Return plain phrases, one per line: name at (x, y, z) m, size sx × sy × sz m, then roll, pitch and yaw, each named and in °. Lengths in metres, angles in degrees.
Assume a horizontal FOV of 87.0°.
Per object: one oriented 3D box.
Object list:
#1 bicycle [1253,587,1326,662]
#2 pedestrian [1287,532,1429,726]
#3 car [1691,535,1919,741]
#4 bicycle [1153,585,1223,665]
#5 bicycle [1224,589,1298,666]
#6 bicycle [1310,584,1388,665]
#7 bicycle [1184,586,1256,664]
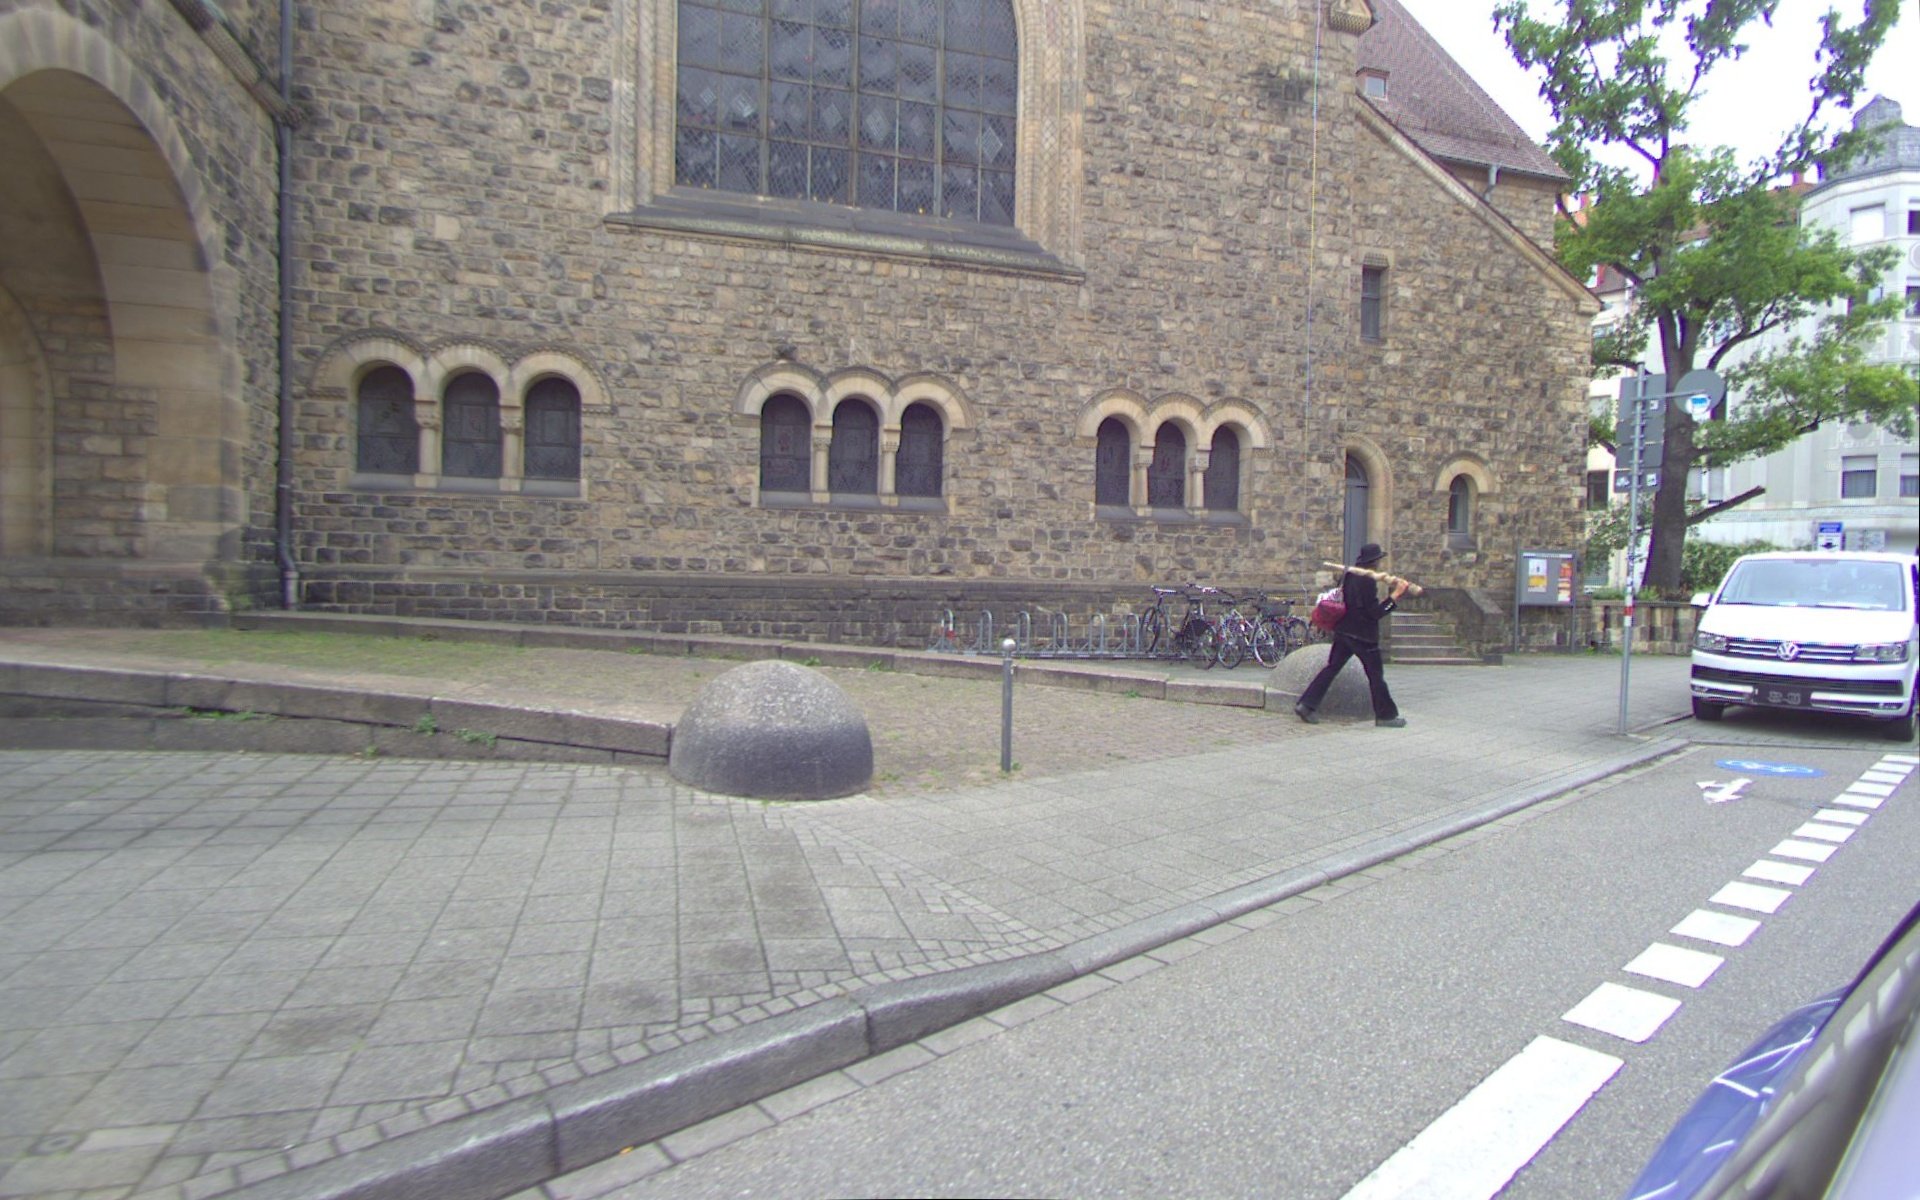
bicycle at (5.036, 0.349, 15.529) m, size 0.304 × 1.073 × 1.347 m, roll 1°, pitch 1°, yaw -18°
pedestrian at (3.953, 0.261, 10.085) m, size 0.998 × 1.831 × 0.818 m, roll 0°, pitch 1°, yaw -19°
car at (10.358, 0.323, 11.891) m, size 5.075 × 1.943 × 1.808 m, roll 0°, pitch 2°, yaw -42°
bicycle at (3.278, 0.335, 14.658) m, size 0.304 × 1.073 × 1.387 m, roll 1°, pitch 1°, yaw -18°
bicycle at (4.484, 0.391, 15.147) m, size 0.304 × 1.073 × 1.387 m, roll 1°, pitch 1°, yaw -18°
bicycle at (5.953, 0.353, 15.551) m, size 0.304 × 1.161 × 1.347 m, roll 1°, pitch 1°, yaw -18°
bicycle at (3.814, 0.344, 14.911) m, size 0.304 × 1.073 × 1.387 m, roll 1°, pitch 1°, yaw -18°
